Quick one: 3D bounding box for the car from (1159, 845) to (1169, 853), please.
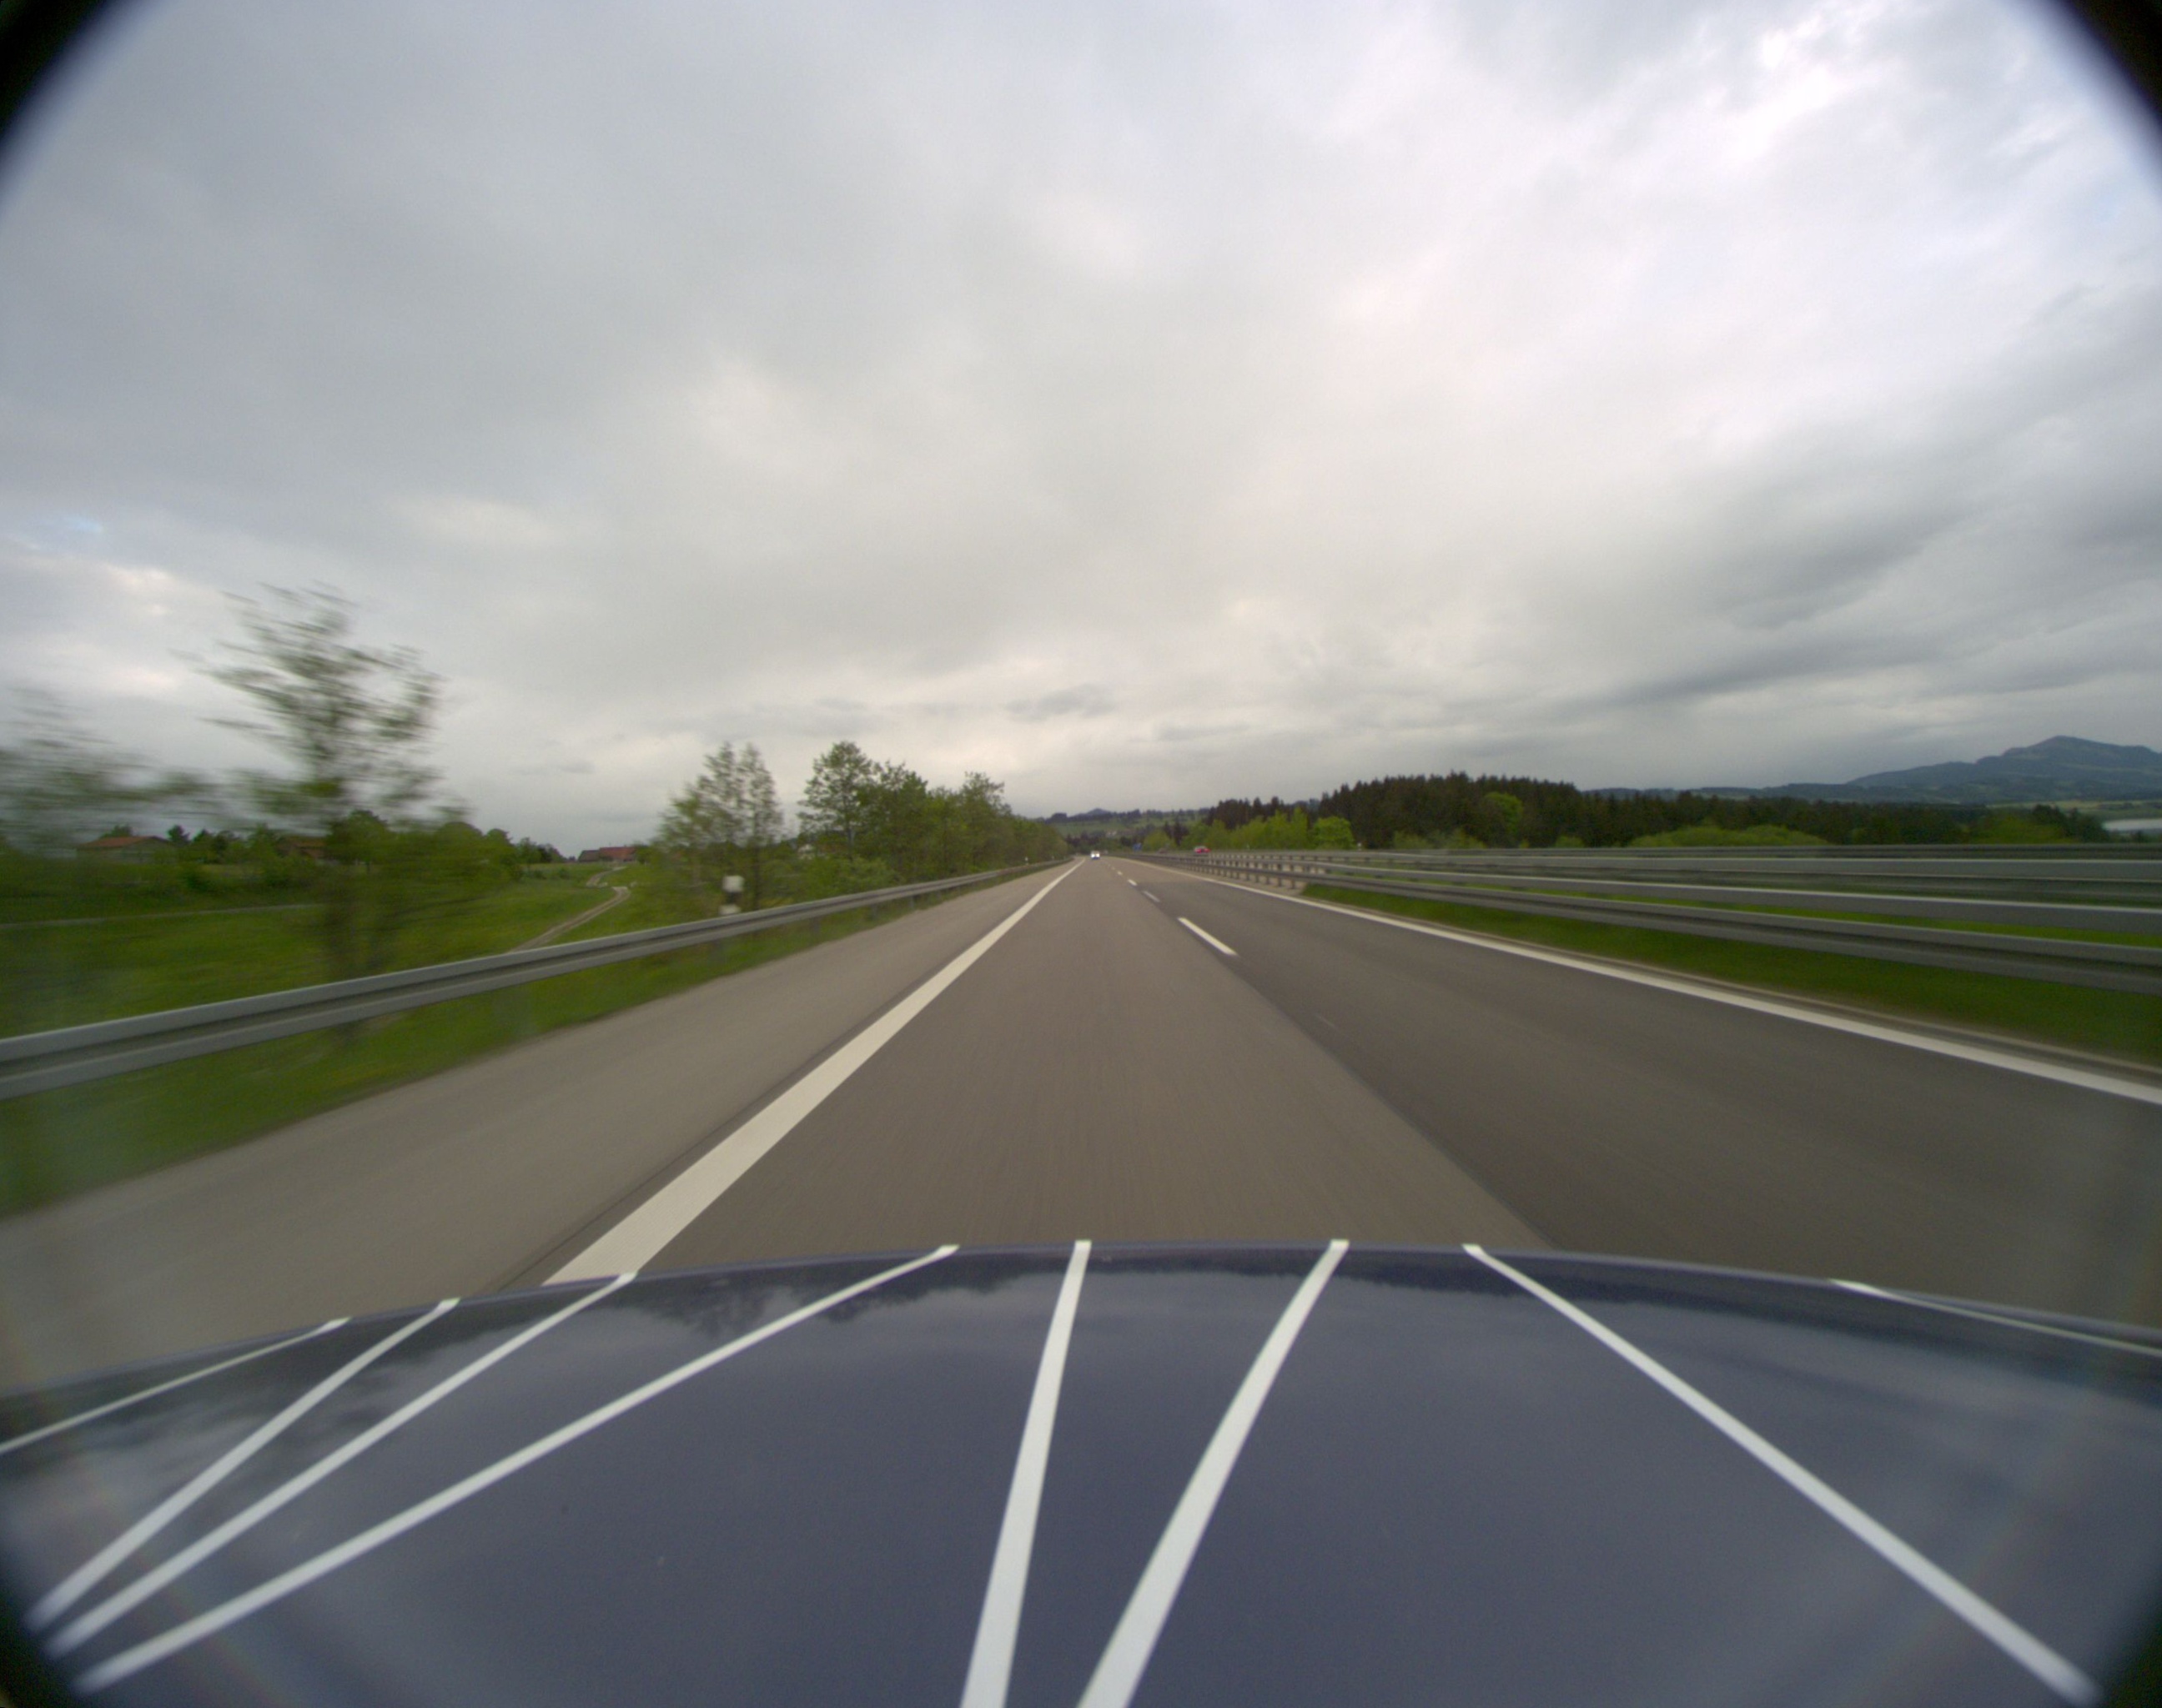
[{"bbox_3d":[18.997,-1.097,174.604,1.904,1.603,4.228,-3,0,1],"label":"car"}]

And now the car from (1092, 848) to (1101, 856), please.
[{"bbox_3d":[3.661,-0.475,177.110,2.021,1.899,4.221,-1,0,1],"label":"car"}]

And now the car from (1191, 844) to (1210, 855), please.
[{"bbox_3d":[17.877,-0.661,113.952,1.998,1.607,4.846,-3,1,0],"label":"car"}]
